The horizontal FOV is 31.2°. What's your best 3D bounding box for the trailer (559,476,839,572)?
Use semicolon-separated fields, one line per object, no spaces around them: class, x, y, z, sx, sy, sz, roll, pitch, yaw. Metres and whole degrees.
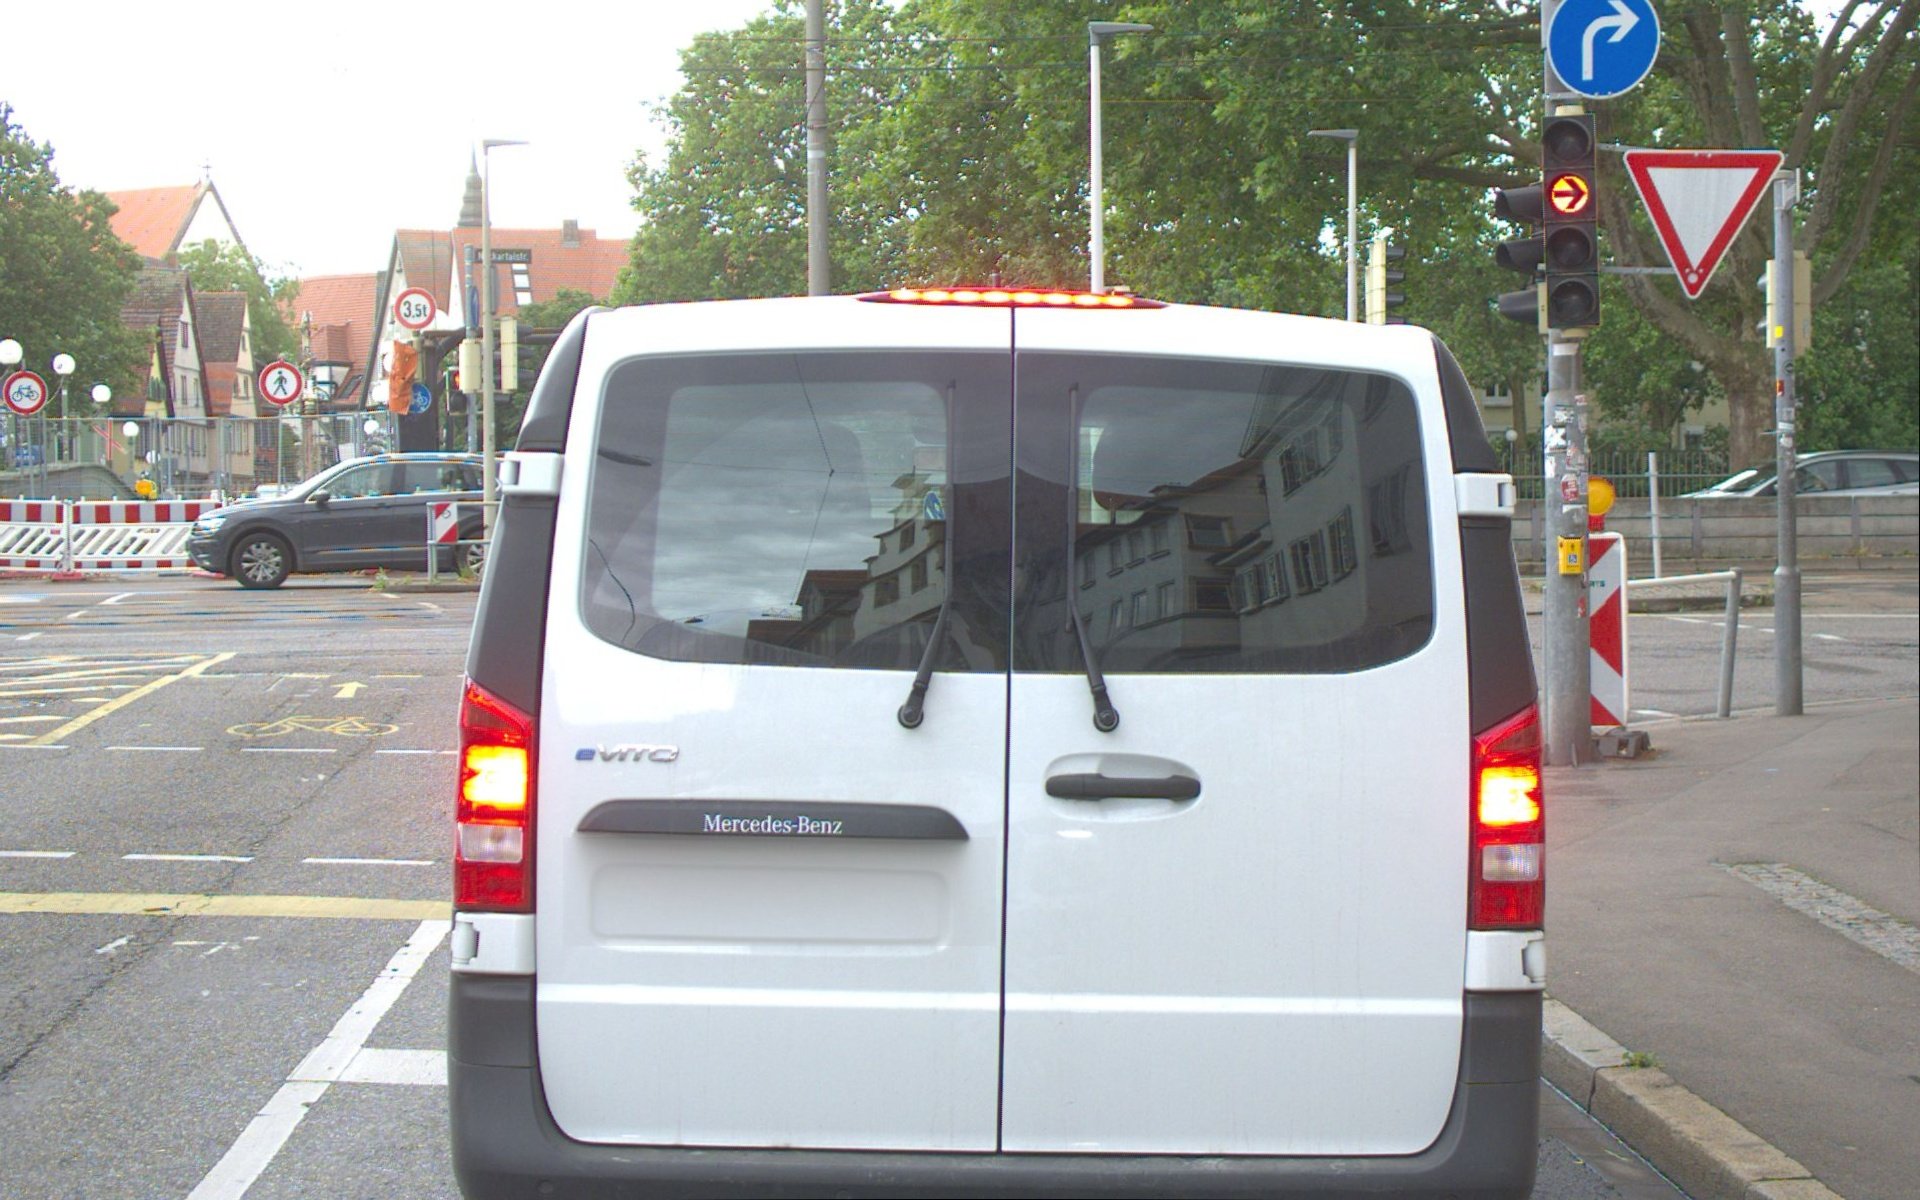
trailer;-3.296;-0.961;43.088;3.199;1.154;2.001;-1;1;-14

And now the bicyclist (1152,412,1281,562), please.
bicyclist;3.731;-1.635;50.099;1.563;2.148;1.248;-1;1;-14

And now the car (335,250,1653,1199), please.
car;-0.021;0.335;7.367;1.993;1.916;4.250;1;3;-2

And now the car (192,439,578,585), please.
car;-7.082;-1.081;42.203;4.517;1.628;2.001;-2;1;-12

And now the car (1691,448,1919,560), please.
car;12.160;-1.284;45.968;4.274;1.447;1.900;0;1;-11
